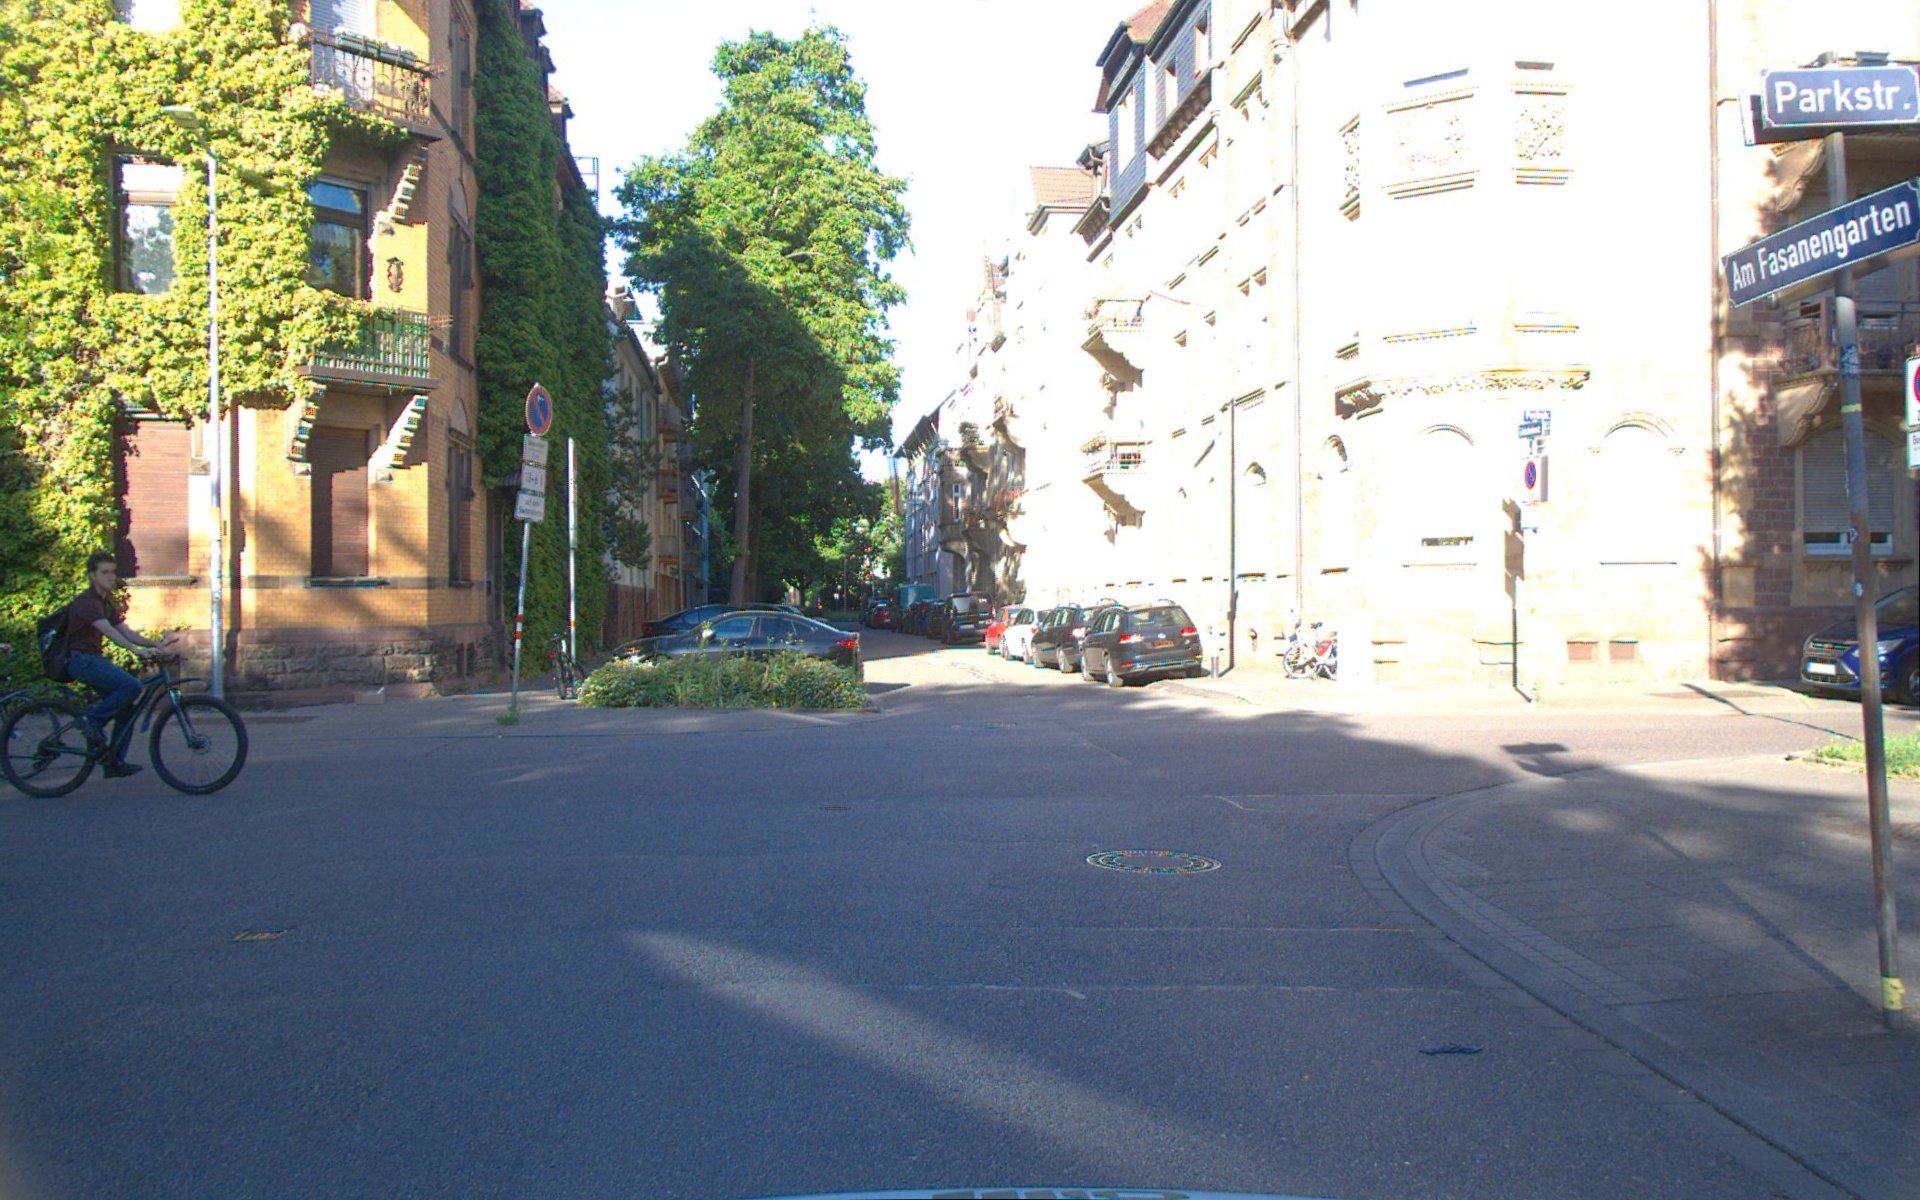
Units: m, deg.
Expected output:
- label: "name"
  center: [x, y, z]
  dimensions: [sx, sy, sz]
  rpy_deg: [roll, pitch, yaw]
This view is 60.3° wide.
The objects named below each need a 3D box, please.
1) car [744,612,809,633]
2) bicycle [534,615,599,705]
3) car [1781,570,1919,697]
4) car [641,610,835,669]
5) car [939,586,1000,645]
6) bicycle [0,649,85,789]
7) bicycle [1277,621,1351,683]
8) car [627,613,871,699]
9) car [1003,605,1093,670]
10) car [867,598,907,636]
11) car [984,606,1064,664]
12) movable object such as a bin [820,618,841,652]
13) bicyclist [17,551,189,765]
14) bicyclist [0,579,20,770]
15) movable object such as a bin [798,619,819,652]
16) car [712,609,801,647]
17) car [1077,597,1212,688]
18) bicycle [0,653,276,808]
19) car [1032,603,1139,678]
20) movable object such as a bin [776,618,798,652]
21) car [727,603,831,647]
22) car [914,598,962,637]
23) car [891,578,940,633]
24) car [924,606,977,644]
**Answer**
- label: "car"
  center: [-10.739, 1.317, 96.735]
  dimensions: [3.730, 1.262, 1.707]
  rpy_deg: [0, -1, -9]
- label: "bicycle"
  center: [-5.922, 0.886, 24.982]
  dimensions: [0.551, 1.290, 1.603]
  rpy_deg: [-1, 0, 1]
- label: "car"
  center: [13.746, 0.428, 22.792]
  dimensions: [4.169, 1.650, 1.730]
  rpy_deg: [0, 1, -11]
- label: "car"
  center: [-5.569, 0.984, 41.696]
  dimensions: [4.744, 1.460, 1.707]
  rpy_deg: [0, -1, -9]
- label: "car"
  center: [0.312, 0.557, 59.843]
  dimensions: [1.768, 2.039, 3.994]
  rpy_deg: [0, -1, -6]
- label: "bicycle"
  center: [-8.305, 0.992, 13.481]
  dimensions: [1.929, 1.091, 0.695]
  rpy_deg: [-2, 0, -15]
- label: "bicycle"
  center: [5.976, 0.862, 27.999]
  dimensions: [0.506, 1.015, 1.568]
  rpy_deg: [0, -1, -18]
- label: "car"
  center: [-3.735, 0.960, 29.385]
  dimensions: [4.164, 1.460, 1.996]
  rpy_deg: [0, -1, -9]
- label: "car"
  center: [2.231, 0.941, 42.957]
  dimensions: [1.704, 1.609, 3.994]
  rpy_deg: [0, -1, -6]
- label: "car"
  center: [-4.524, 1.066, 102.164]
  dimensions: [2.124, 2.276, 4.784]
  rpy_deg: [0, -1, -6]
- label: "car"
  center: [1.796, 0.980, 47.489]
  dimensions: [1.704, 1.609, 3.994]
  rpy_deg: [0, -1, -6]
- label: "movable object such as a bin"
  center: [-4.164, 1.113, 53.095]
  dimensions: [0.618, 1.071, 0.566]
  rpy_deg: [0, -1, -12]
- label: "bicyclist"
  center: [-6.429, 0.426, 12.451]
  dimensions: [0.951, 1.553, 0.719]
  rpy_deg: [0, -1, -10]
- label: "bicyclist"
  center: [-8.324, 0.607, 13.515]
  dimensions: [0.953, 1.553, 0.705]
  rpy_deg: [0, -1, -15]
- label: "movable object such as a bin"
  center: [-4.847, 1.132, 52.984]
  dimensions: [0.618, 1.071, 0.566]
  rpy_deg: [0, -1, -12]
- label: "car"
  center: [-8.728, 1.187, 70.823]
  dimensions: [3.730, 1.603, 1.707]
  rpy_deg: [0, -1, -9]
- label: "car"
  center: [3.434, 0.778, 31.459]
  dimensions: [1.704, 1.609, 3.994]
  rpy_deg: [0, -1, -6]
- label: "bicycle"
  center: [-6.272, 0.971, 12.528]
  dimensions: [1.926, 1.091, 0.556]
  rpy_deg: [0, 2, -10]
- label: "car"
  center: [2.795, 0.896, 37.582]
  dimensions: [1.704, 1.609, 3.994]
  rpy_deg: [0, -1, -6]
- label: "movable object such as a bin"
  center: [-5.520, 1.103, 52.805]
  dimensions: [0.618, 1.071, 0.566]
  rpy_deg: [0, -1, -12]
- label: "car"
  center: [-6.695, 0.922, 61.023]
  dimensions: [3.732, 1.603, 1.706]
  rpy_deg: [0, -1, -11]
- label: "car"
  center: [-1.020, 0.789, 74.972]
  dimensions: [1.768, 1.708, 3.994]
  rpy_deg: [0, -1, -6]
- label: "car"
  center: [-2.340, 0.295, 85.192]
  dimensions: [2.124, 2.738, 4.784]
  rpy_deg: [0, -1, -6]
- label: "car"
  center: [-0.418, 1.023, 68.205]
  dimensions: [1.768, 1.541, 3.994]
  rpy_deg: [0, -1, -6]
